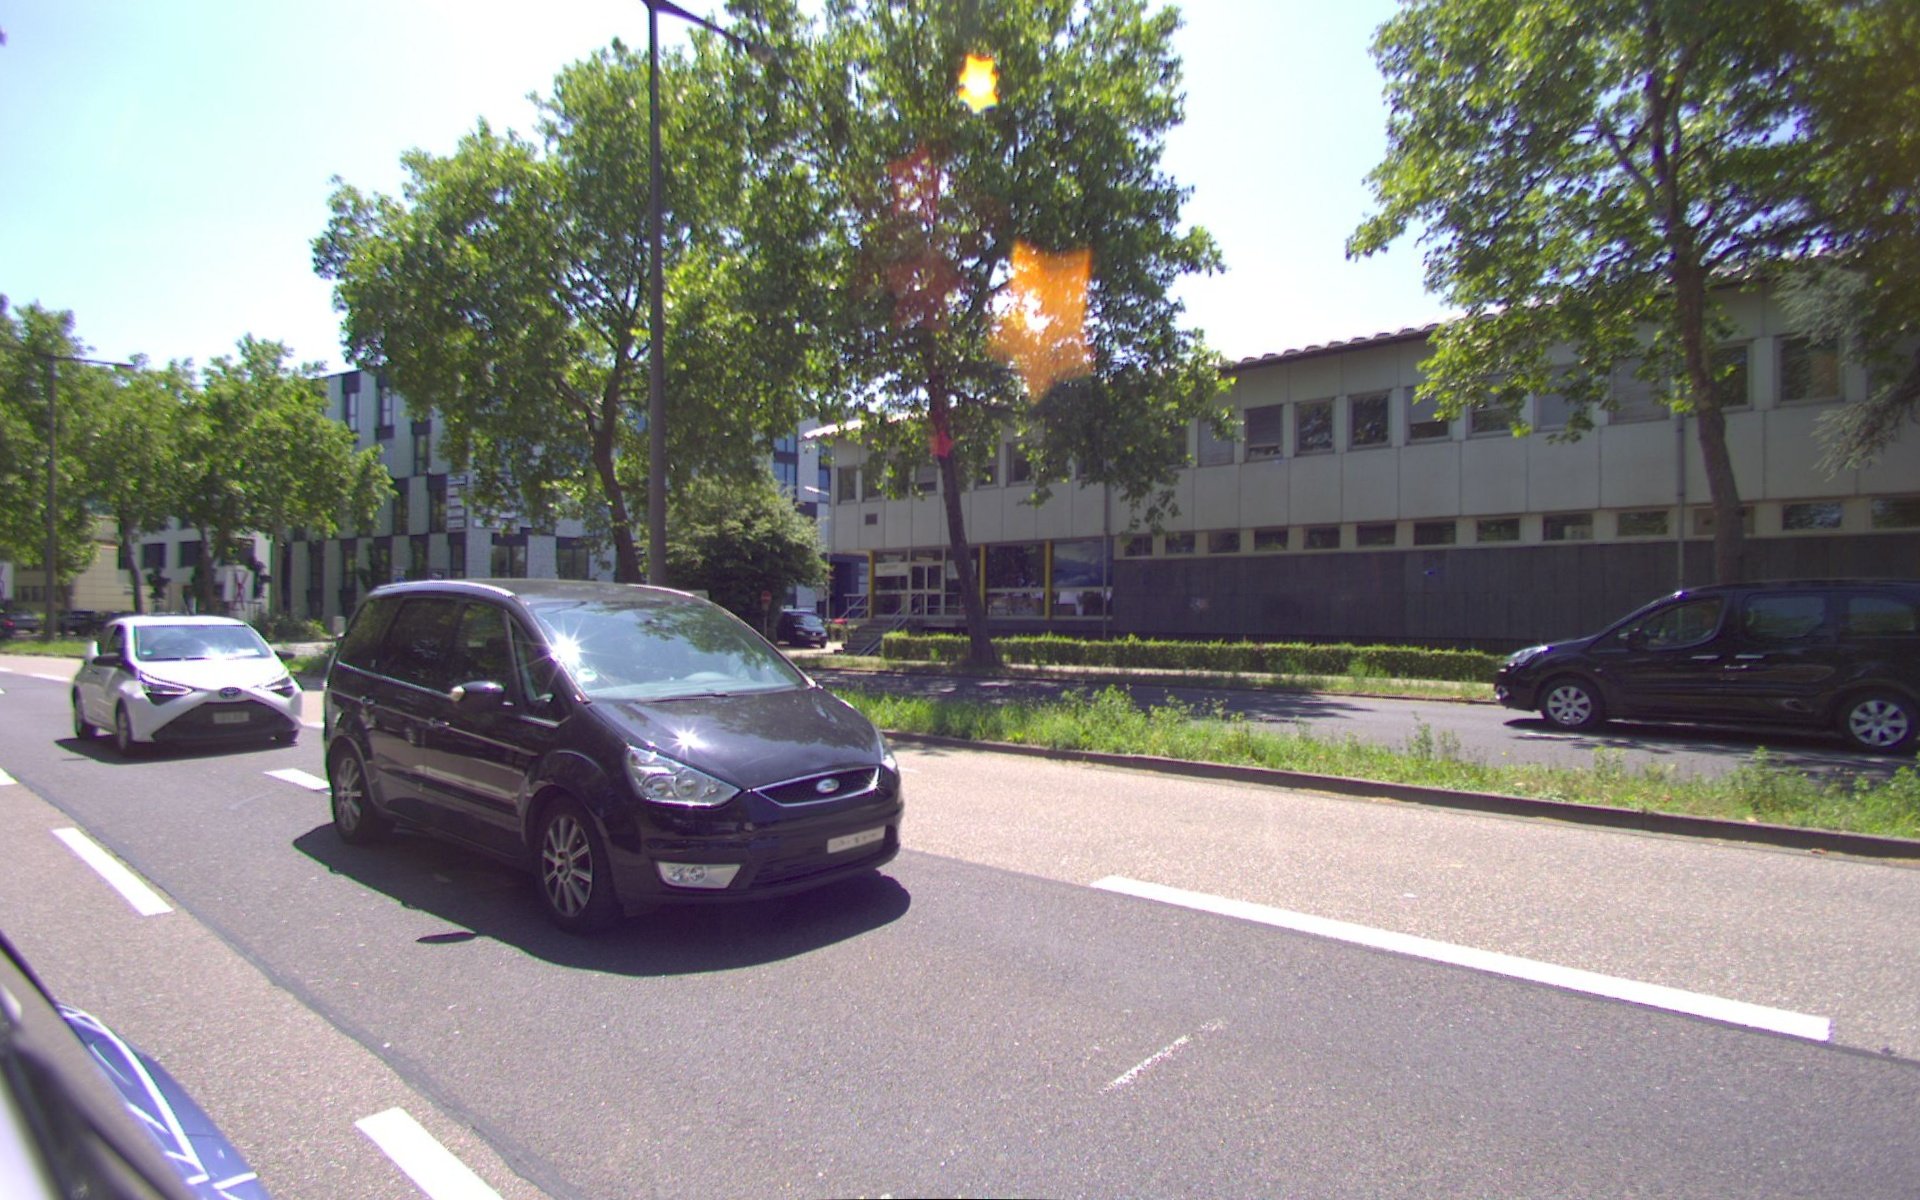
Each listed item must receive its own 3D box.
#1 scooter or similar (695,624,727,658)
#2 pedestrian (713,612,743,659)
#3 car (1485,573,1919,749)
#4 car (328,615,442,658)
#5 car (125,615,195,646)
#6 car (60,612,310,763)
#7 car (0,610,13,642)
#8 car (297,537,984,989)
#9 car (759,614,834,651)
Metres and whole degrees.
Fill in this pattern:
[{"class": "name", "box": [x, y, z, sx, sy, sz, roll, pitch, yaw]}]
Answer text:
[{"class": "scooter or similar", "box": [-8.601, 1.404, 34.991, 0.857, 1.172, 0.672, -1, -2, 35]}, {"class": "pedestrian", "box": [-7.918, 1.199, 34.516, 0.789, 1.572, 0.636, -1, -2, 35]}, {"class": "car", "box": [8.668, 0.616, 11.522, 4.444, 1.692, 1.890, -1, -1, 43]}, {"class": "car", "box": [-20.185, 1.254, 35.463, 4.540, 1.429, 1.836, -1, -2, 37]}, {"class": "car", "box": [-38.673, 1.453, 48.914, 3.666, 1.470, 1.716, -1, -2, 36]}, {"class": "car", "box": [-9.133, 0.900, 11.827, 3.649, 1.456, 1.602, -1, 0, 41]}, {"class": "car", "box": [-51.490, 1.357, 53.108, 4.615, 1.668, 1.930, -1, -2, 39]}, {"class": "car", "box": [-2.227, 0.672, 6.186, 4.645, 1.769, 1.835, -1, -1, 40]}, {"class": "car", "box": [-7.886, 1.545, 48.651, 3.528, 1.659, 1.795, 0, 0, 44]}]
